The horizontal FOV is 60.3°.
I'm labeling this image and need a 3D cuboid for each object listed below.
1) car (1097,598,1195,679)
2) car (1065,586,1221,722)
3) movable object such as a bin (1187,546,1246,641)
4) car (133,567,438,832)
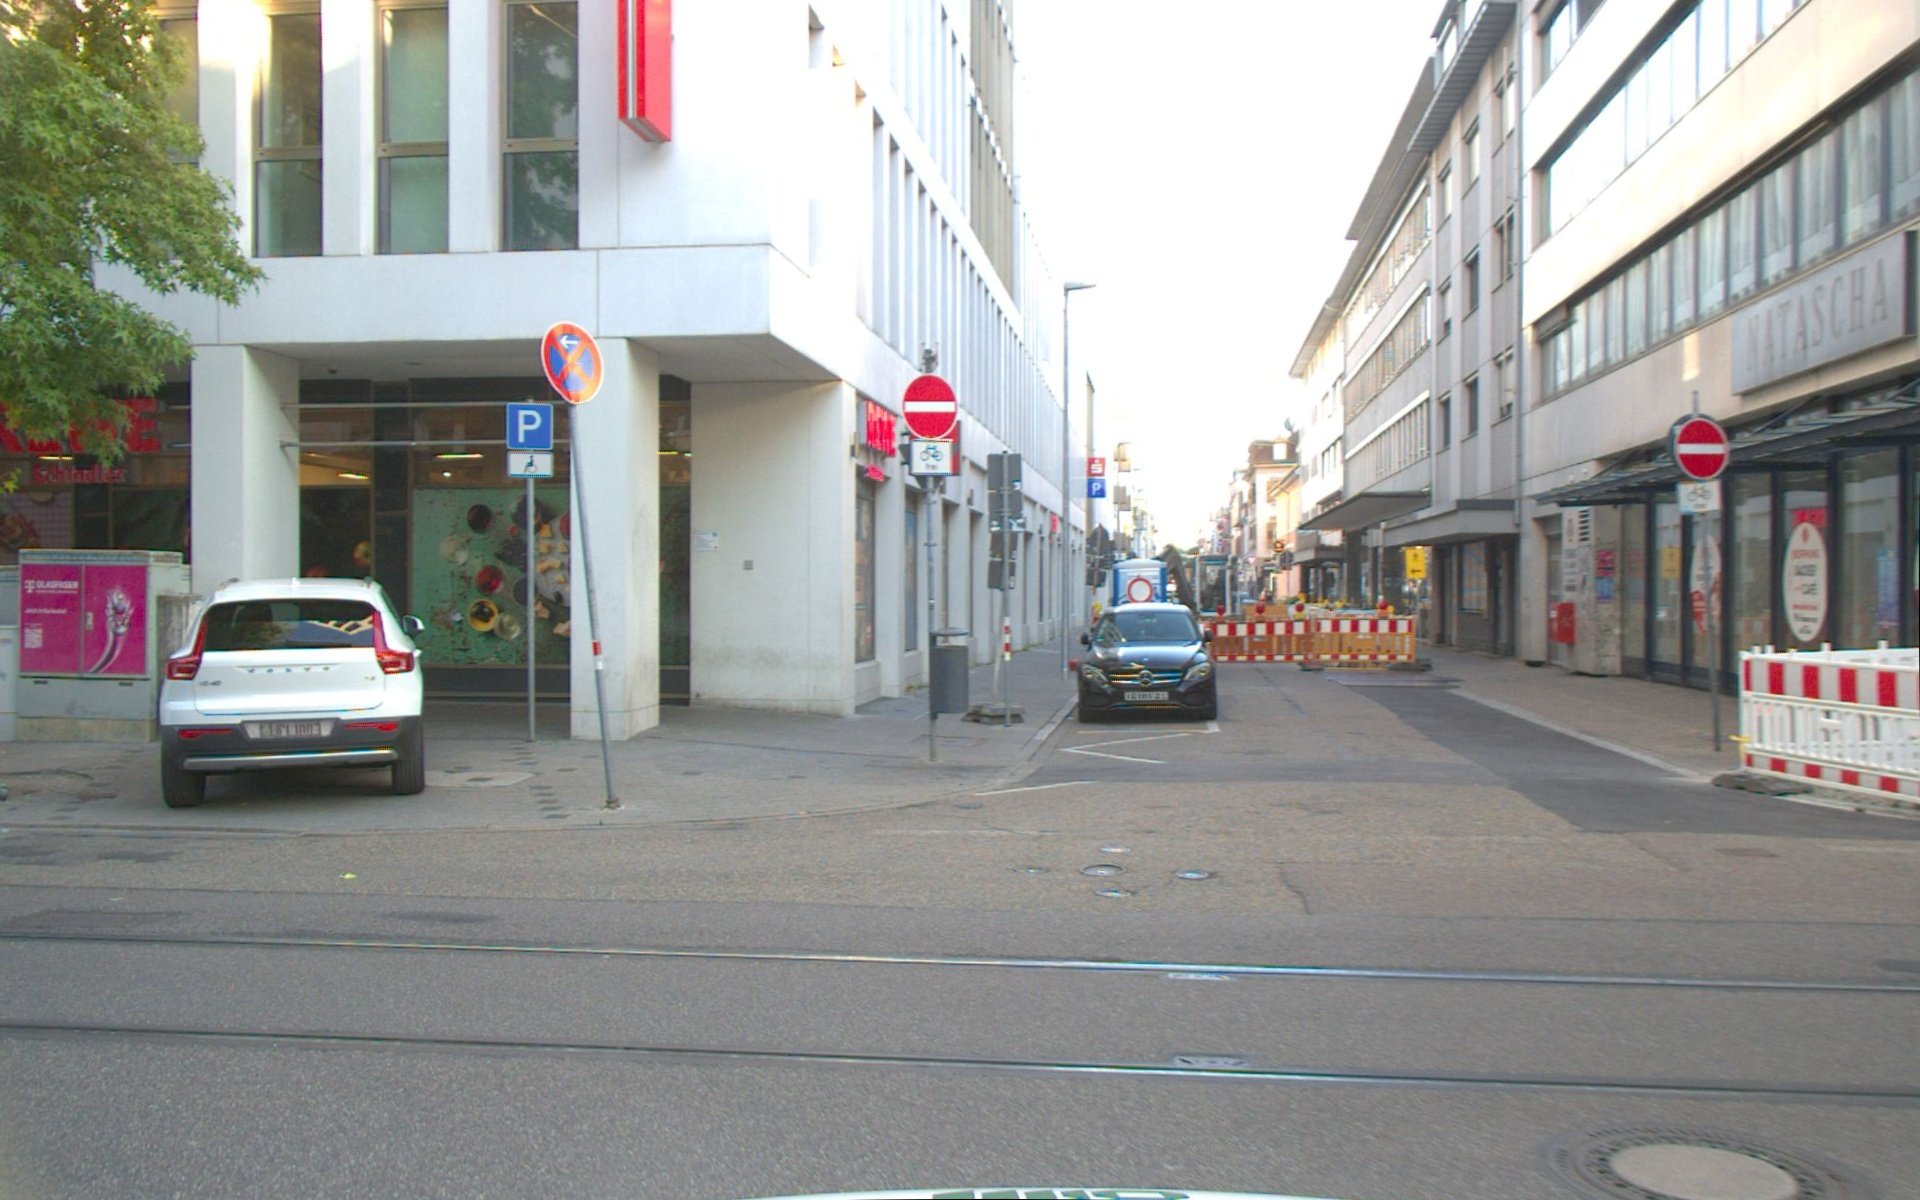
[{"bbox_3d":[3.786,0.725,33.150,1.736,1.501,4.155,-1,0,9],"label":"car"},{"bbox_3d":[2.560,0.669,22.319,1.857,1.641,4.155,-1,0,9],"label":"car"},{"bbox_3d":[7.053,-0.184,45.421,1.406,2.537,1.759,0,0,16],"label":"movable object such as a bin"},{"bbox_3d":[-5.420,0.649,13.828,1.915,1.700,4.253,-2,3,-17],"label":"car"}]
